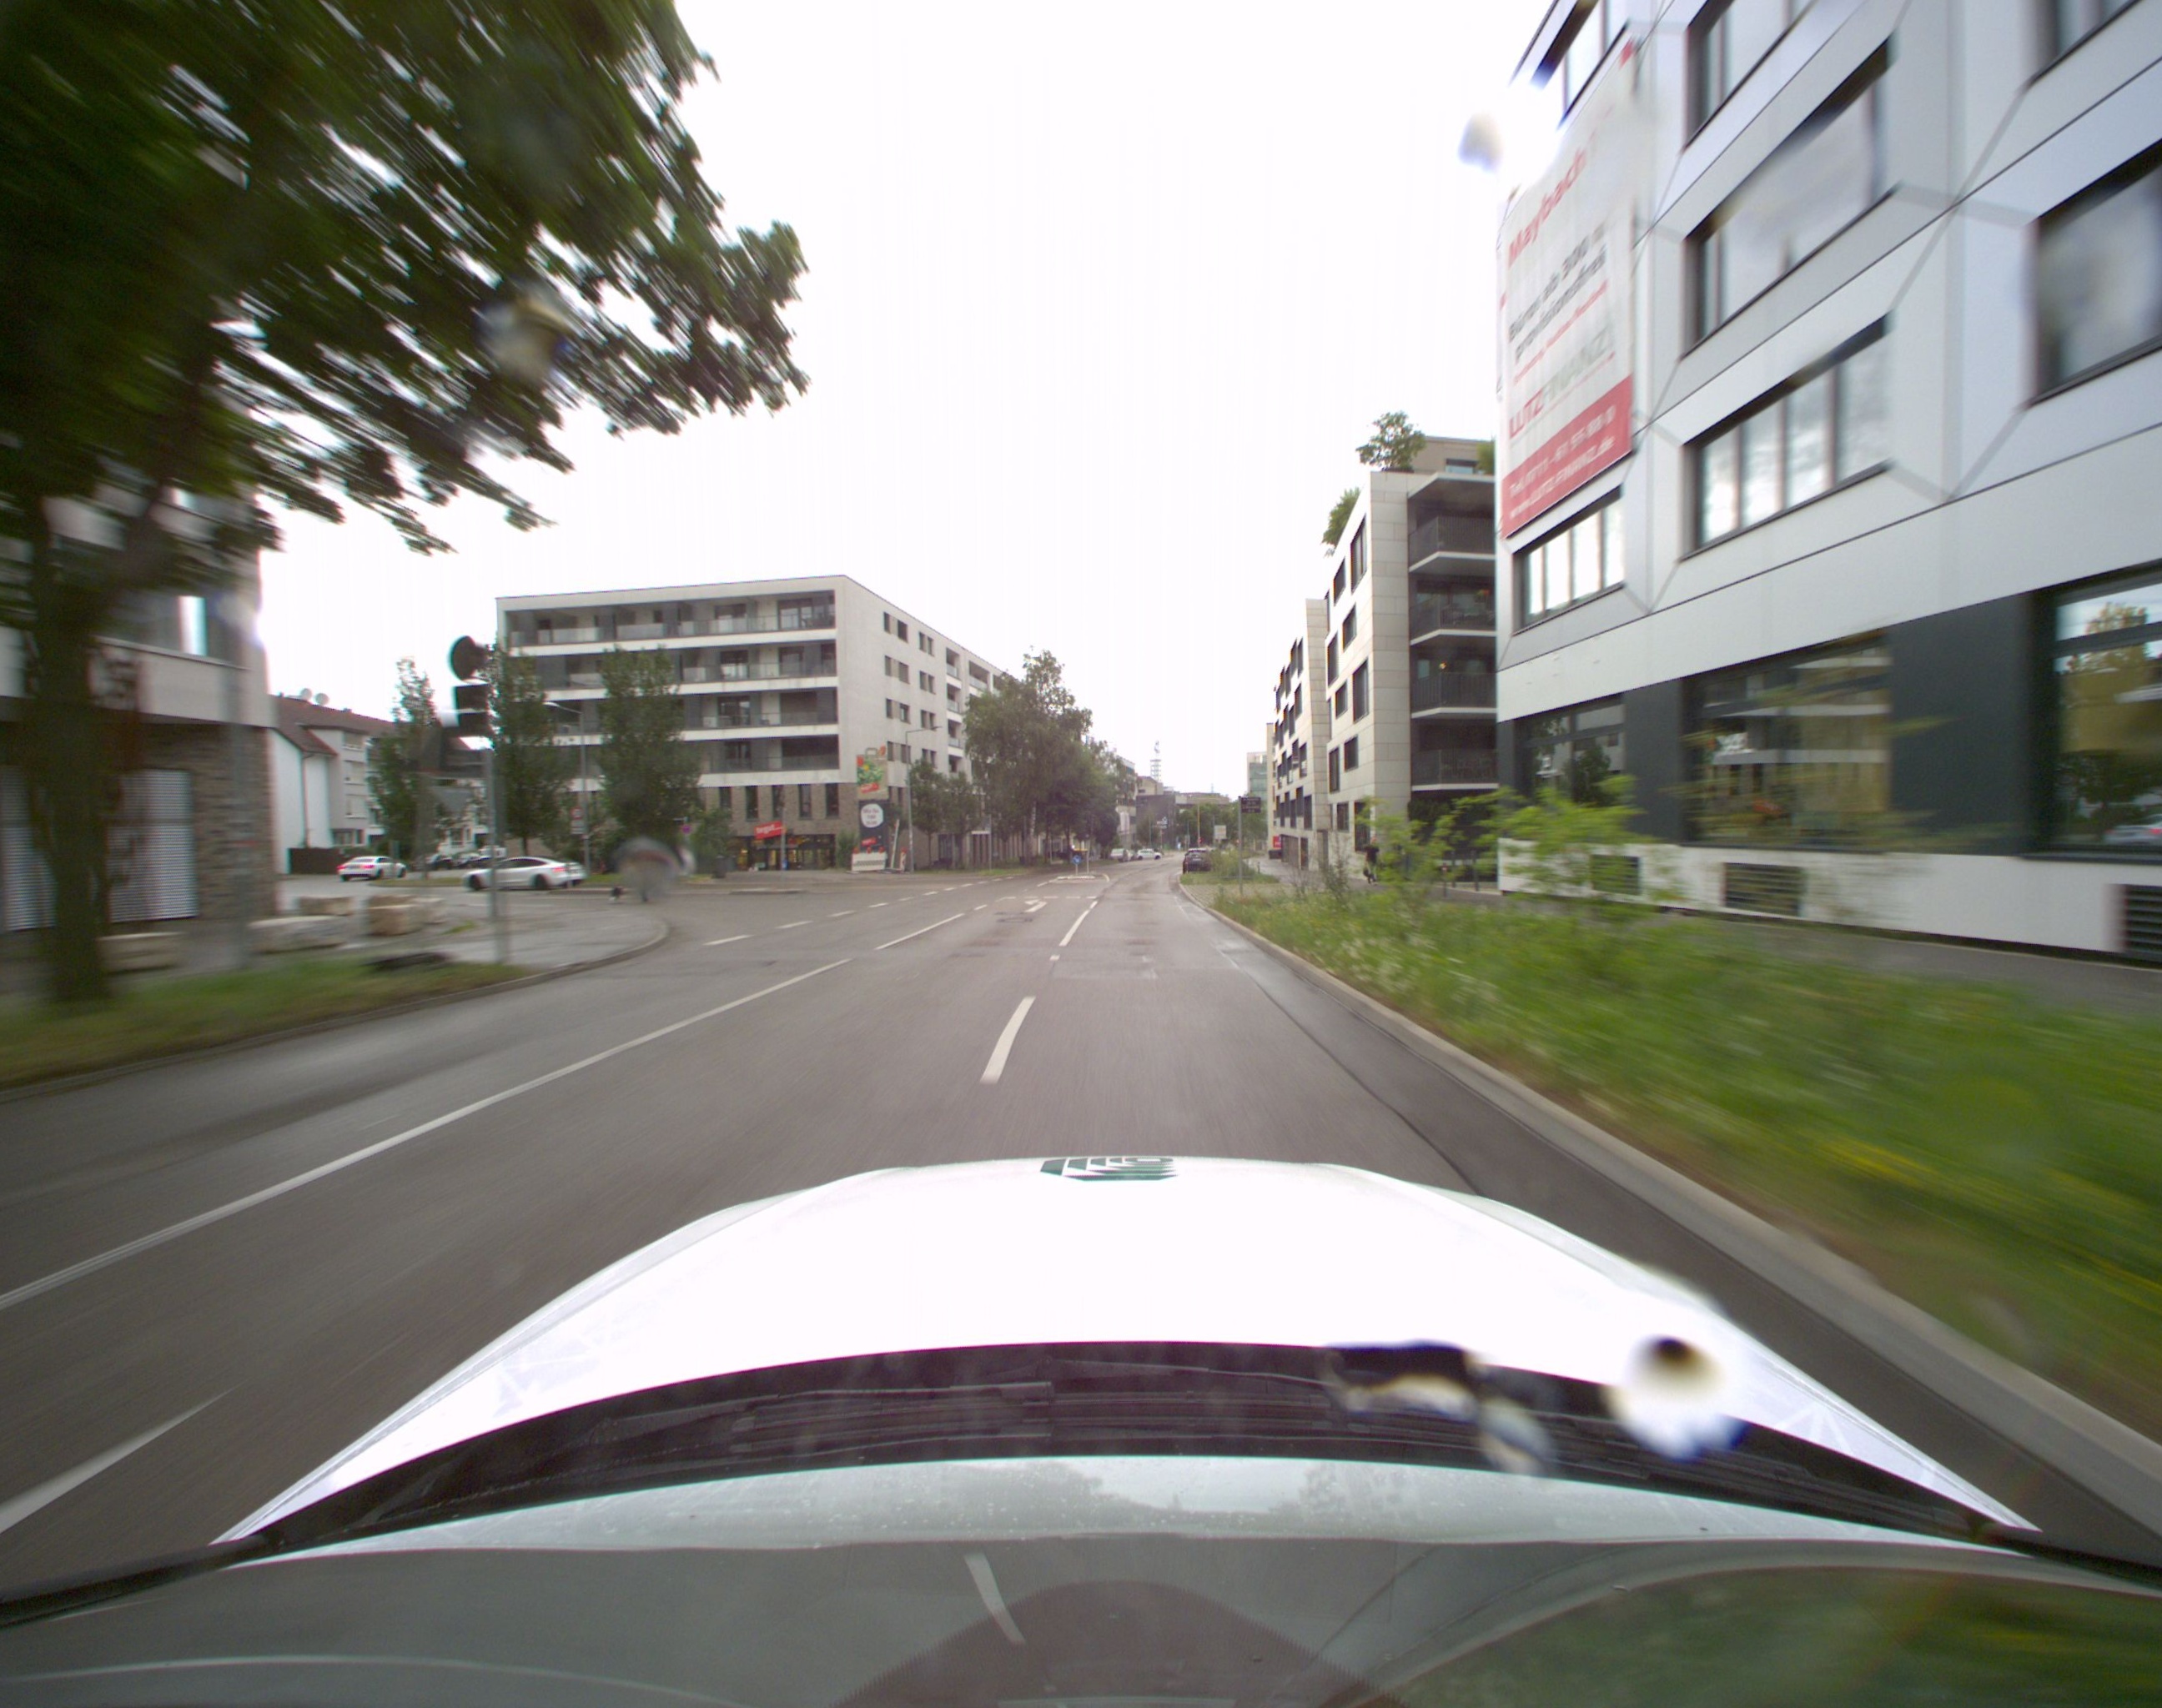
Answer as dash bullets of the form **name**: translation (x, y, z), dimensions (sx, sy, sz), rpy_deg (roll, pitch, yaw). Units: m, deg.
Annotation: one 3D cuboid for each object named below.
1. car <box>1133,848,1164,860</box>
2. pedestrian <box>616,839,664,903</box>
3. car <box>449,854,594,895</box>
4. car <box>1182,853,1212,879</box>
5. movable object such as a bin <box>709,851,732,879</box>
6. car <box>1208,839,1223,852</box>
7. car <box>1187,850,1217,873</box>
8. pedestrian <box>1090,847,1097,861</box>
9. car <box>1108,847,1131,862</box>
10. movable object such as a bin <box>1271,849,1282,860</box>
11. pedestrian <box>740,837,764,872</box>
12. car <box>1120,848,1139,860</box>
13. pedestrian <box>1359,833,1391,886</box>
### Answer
- **car**: translation (9.420, 0.017, 113.822), dimensions (3.984, 1.577, 1.993), rpy_deg (-1, 1, -11)
- **pedestrian**: translation (-14.270, 0.542, 26.390), dimensions (1.055, 2.014, 1.096), rpy_deg (0, -1, -10)
- **car**: translation (-23.808, 0.857, 34.777), dimensions (4.787, 1.661, 2.065), rpy_deg (-1, 0, 1)
- **car**: translation (7.063, 0.704, 49.397), dimensions (1.536, 1.478, 3.673), rpy_deg (0, 1, 12)
- **movable object such as a bin**: translation (-17.639, 0.536, 39.835), dimensions (0.712, 1.362, 0.823), rpy_deg (-1, 1, 4)
- **car**: translation (19.570, -1.232, 118.411), dimensions (1.981, 1.750, 3.684), rpy_deg (0, 1, 11)
- **car**: translation (8.085, 0.468, 54.136), dimensions (1.796, 1.484, 4.508), rpy_deg (0, 0, 11)
- **pedestrian**: translation (1.521, -0.037, 96.907), dimensions (0.704, 1.683, 0.958), rpy_deg (-1, 1, 7)
- **car**: translation (4.604, 0.019, 96.358), dimensions (2.065, 1.609, 4.698), rpy_deg (-2, 1, 10)
- **movable object such as a bin**: translation (25.037, 0.096, 104.308), dimensions (1.226, 1.320, 1.196), rpy_deg (-1, -1, 13)
- **pedestrian**: translation (-19.112, 0.041, 47.294), dimensions (0.879, 2.013, 1.118), rpy_deg (1, 1, 2)
- **car**: translation (6.388, -0.019, 106.535), dimensions (1.784, 1.516, 4.260), rpy_deg (0, 0, 13)
- **pedestrian**: translation (10.175, 0.196, 28.202), dimensions (0.819, 1.796, 0.779), rpy_deg (-1, -1, 5)
